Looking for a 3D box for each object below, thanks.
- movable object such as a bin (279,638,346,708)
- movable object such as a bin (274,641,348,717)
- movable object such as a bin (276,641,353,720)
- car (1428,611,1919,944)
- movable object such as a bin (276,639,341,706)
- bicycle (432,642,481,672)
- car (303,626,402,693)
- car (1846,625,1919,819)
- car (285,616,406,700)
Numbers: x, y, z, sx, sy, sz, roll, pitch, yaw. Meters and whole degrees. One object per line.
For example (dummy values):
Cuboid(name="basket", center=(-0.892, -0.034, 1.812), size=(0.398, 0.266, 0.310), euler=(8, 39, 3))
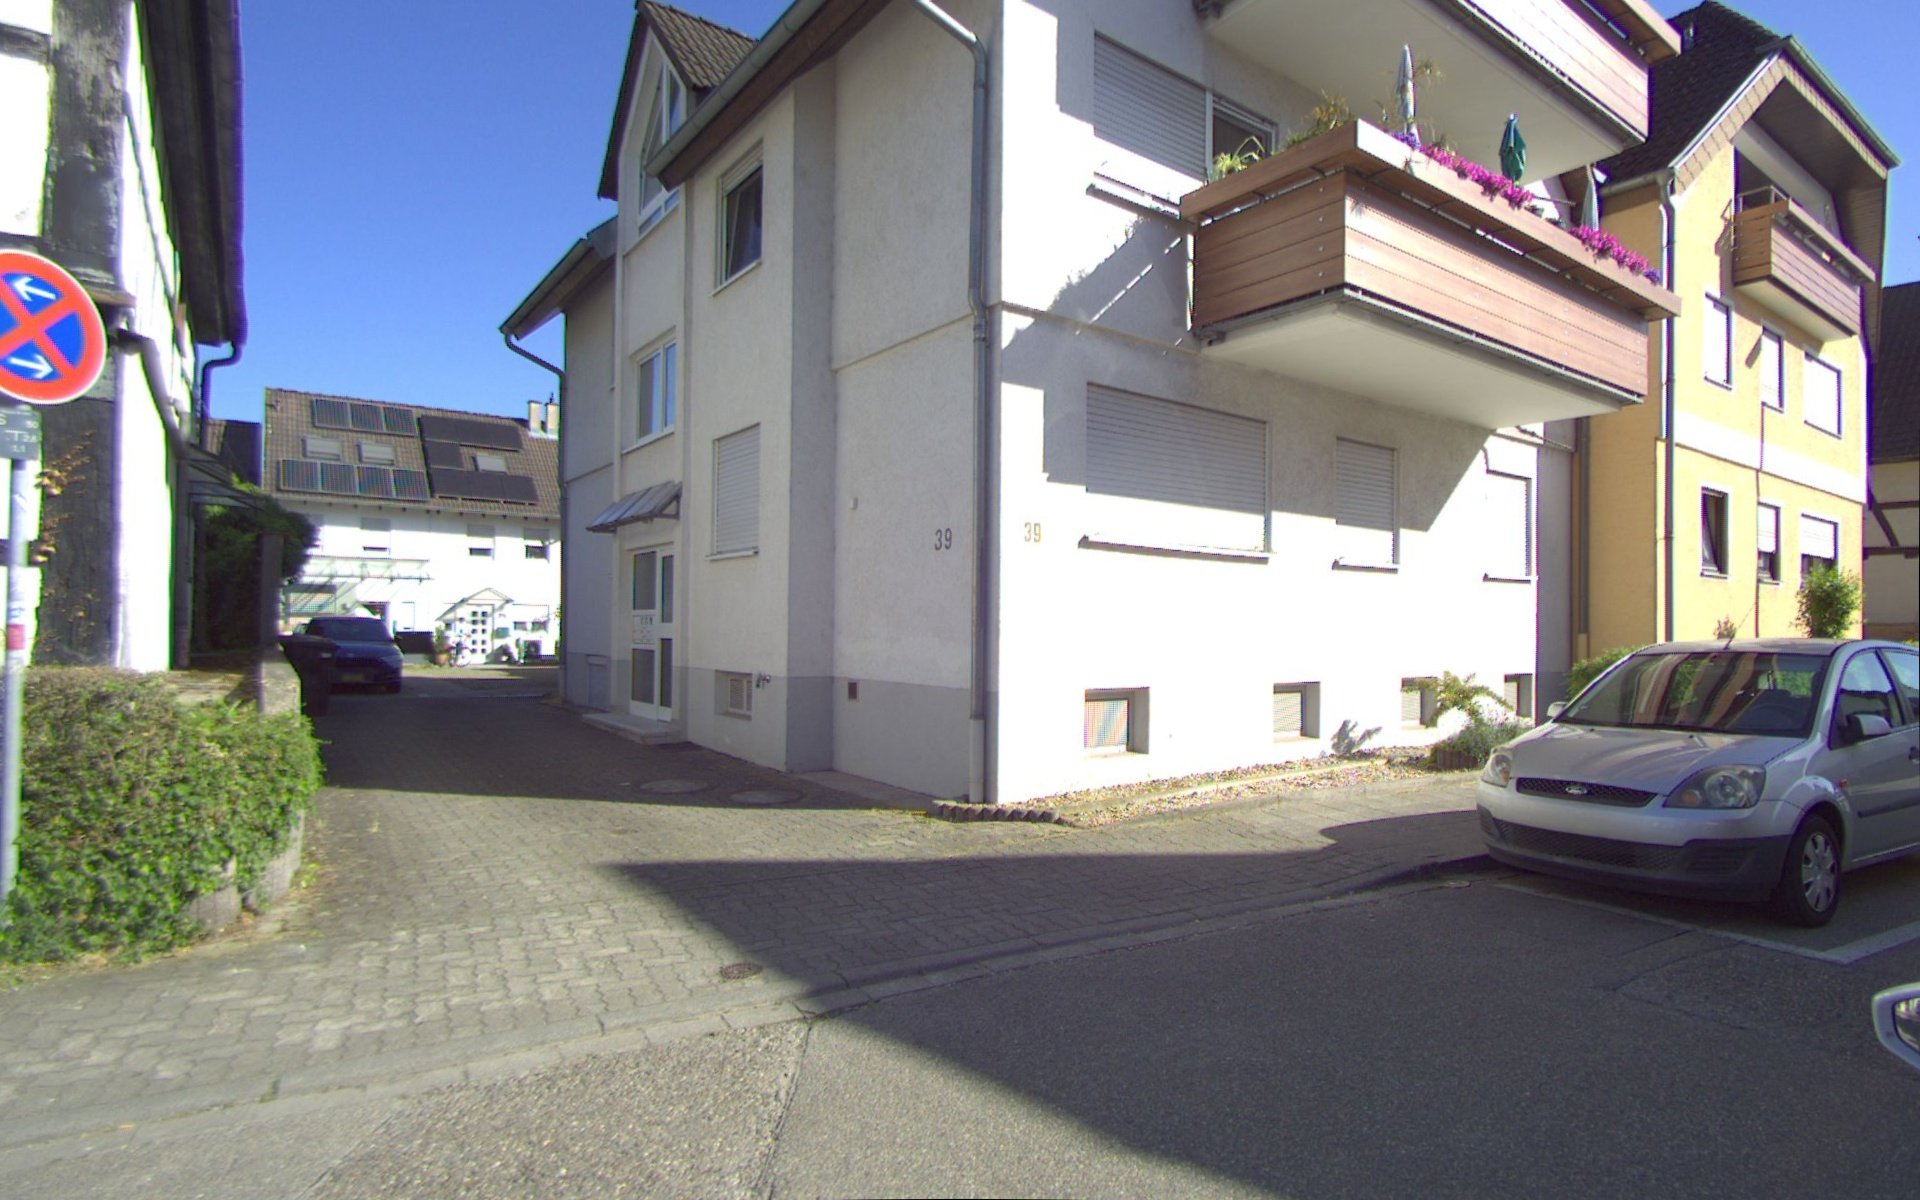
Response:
Cuboid(name="movable object such as a bin", center=(-10.351, 1.160, 16.078), size=(0.822, 1.052, 0.680), euler=(3, -1, -30))
Cuboid(name="movable object such as a bin", center=(-9.535, 1.150, 14.787), size=(0.822, 1.052, 0.680), euler=(3, -1, -30))
Cuboid(name="movable object such as a bin", center=(-9.068, 1.127, 14.143), size=(0.822, 1.052, 0.680), euler=(3, -1, -30))
Cuboid(name="car", center=(4.891, 0.887, 6.301), size=(3.807, 1.525, 1.624), euler=(1, -3, -30))
Cuboid(name="movable object such as a bin", center=(-10.773, 1.191, 16.640), size=(0.822, 1.052, 0.680), euler=(3, -1, -30))
Cuboid(name="bicycle", center=(-17.292, 1.949, 34.488), size=(1.707, 0.901, 0.489), euler=(3, 0, 22))
Cuboid(name="car", center=(-14.667, 1.400, 24.173), size=(1.714, 1.461, 3.961), euler=(3, -3, -35))
Cuboid(name="car", center=(9.502, 0.985, 8.541), size=(4.044, 1.525, 1.667), euler=(1, -2, -29))
Cuboid(name="car", center=(-12.043, 1.100, 19.575), size=(1.714, 1.461, 3.961), euler=(3, -3, -35))
